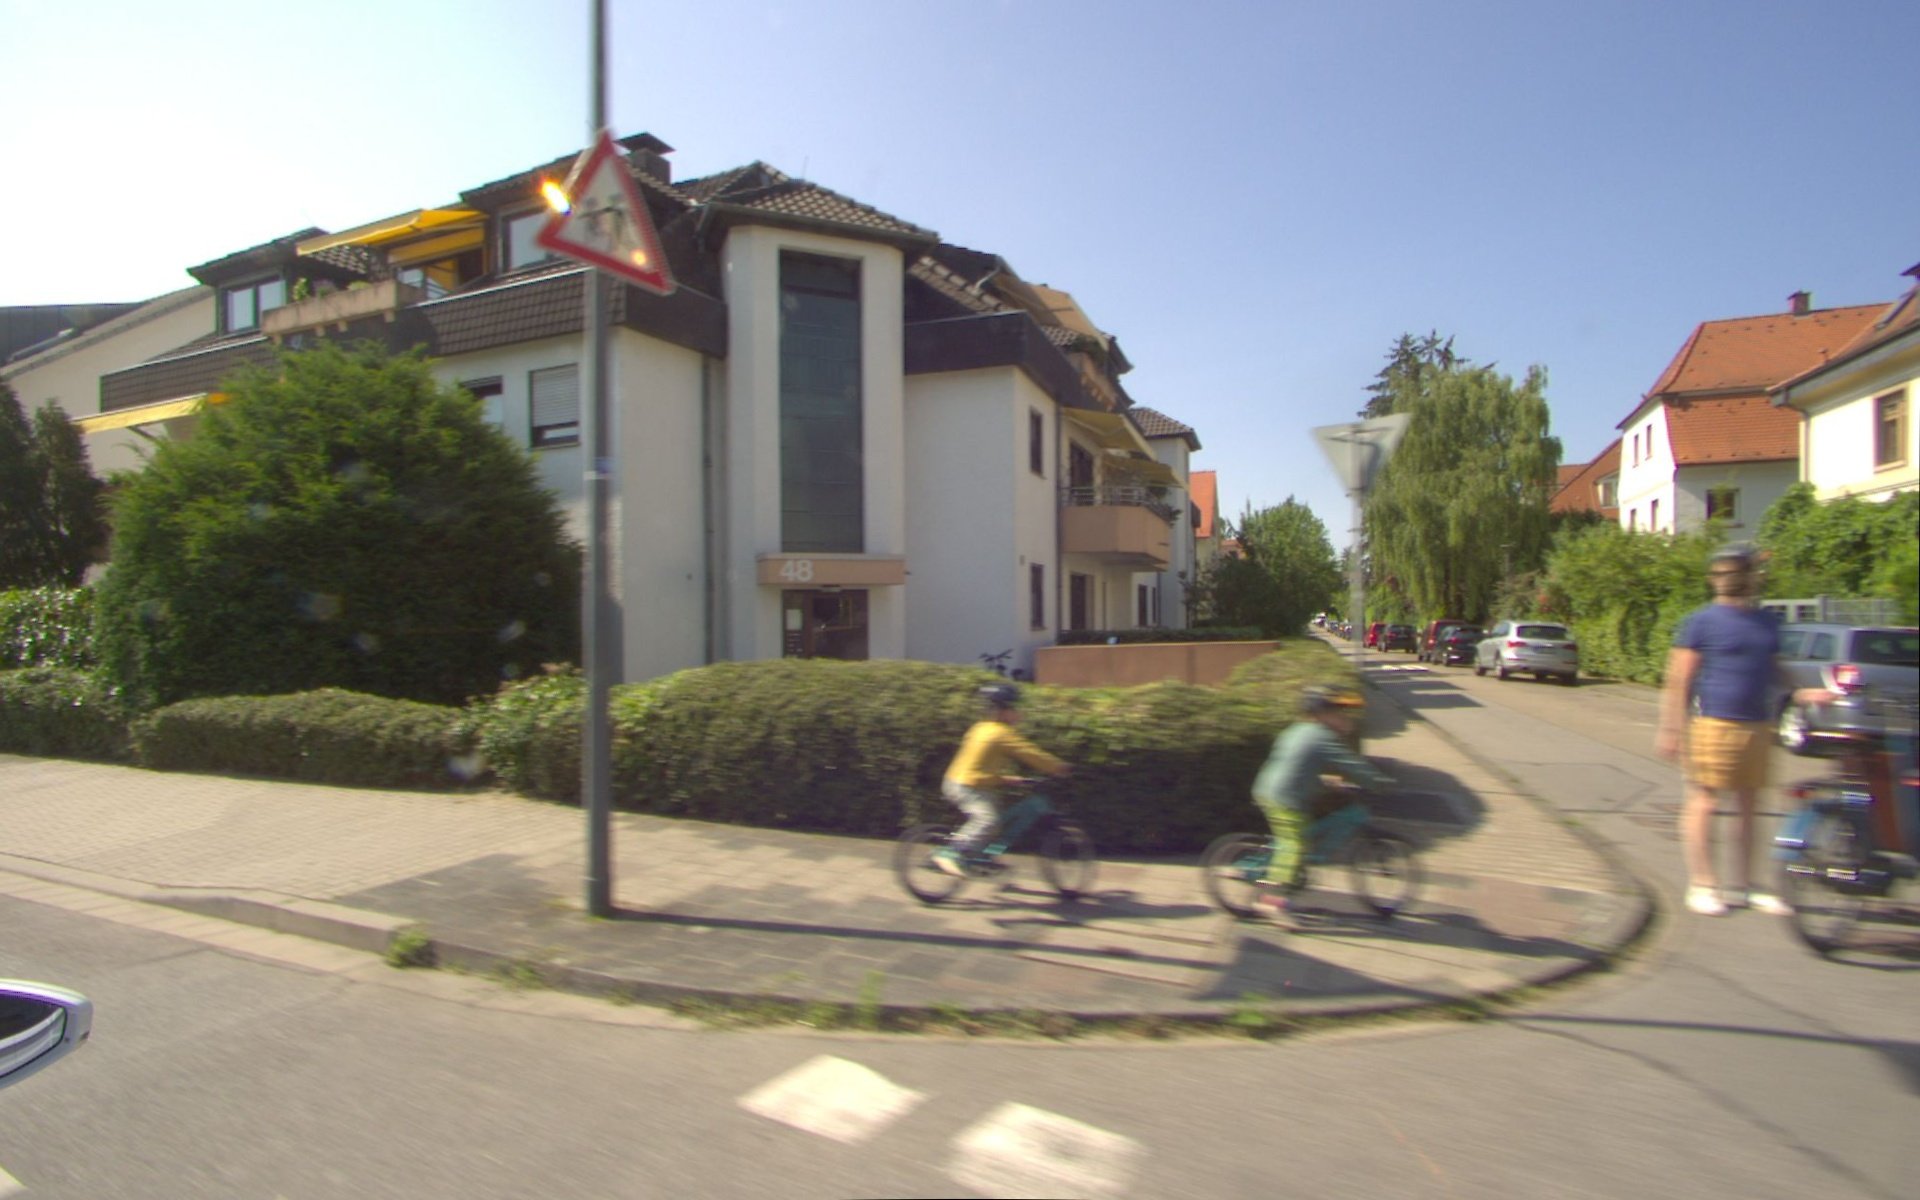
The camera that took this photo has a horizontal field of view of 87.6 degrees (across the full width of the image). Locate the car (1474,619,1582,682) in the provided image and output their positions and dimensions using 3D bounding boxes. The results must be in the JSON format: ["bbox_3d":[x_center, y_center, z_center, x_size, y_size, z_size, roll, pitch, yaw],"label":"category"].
[{"bbox_3d":[15.502,1.325,27.542,1.779,1.588,3.994,-1,-1,18],"label":"car"}]

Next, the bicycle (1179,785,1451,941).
[{"bbox_3d":[1.670,1.235,4.769,1.151,0.607,0.402,-1,0,-4],"label":"bicycle"}]

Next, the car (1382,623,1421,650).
[{"bbox_3d":[26.572,2.185,60.369,1.779,1.588,3.994,-1,-1,18],"label":"car"}]

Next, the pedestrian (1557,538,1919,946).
[{"bbox_3d":[3.961,0.667,5.189,1.166,1.897,0.901,-1,0,-6],"label":"pedestrian"}]

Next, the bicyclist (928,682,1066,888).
[{"bbox_3d":[0.190,0.896,5.003,0.598,0.945,0.399,-1,0,17],"label":"bicyclist"}]

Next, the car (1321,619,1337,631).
[{"bbox_3d":[47.990,3.241,130.343,1.779,1.588,3.994,-1,-1,18],"label":"car"}]

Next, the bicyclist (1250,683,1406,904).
[{"bbox_3d":[1.718,0.876,4.700,0.646,0.941,0.401,-1,0,20],"label":"bicyclist"}]

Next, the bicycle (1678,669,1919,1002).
[{"bbox_3d":[4.676,0.989,4.943,2.673,1.173,0.859,0,-1,-31],"label":"bicycle"}]

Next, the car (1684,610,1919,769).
[{"bbox_3d":[10.393,0.931,11.851,1.779,1.588,3.994,-1,-1,18],"label":"car"}]

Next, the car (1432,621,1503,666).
[{"bbox_3d":[19.165,1.620,37.986,1.779,1.588,3.994,-1,-1,18],"label":"car"}]

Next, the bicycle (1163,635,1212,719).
[{"bbox_3d":[3.449,1.140,15.288,0.620,1.110,1.821,0,1,10],"label":"bicycle"}]

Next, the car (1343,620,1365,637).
[{"bbox_3d":[38.515,2.745,98.004,1.779,1.588,3.994,-1,-1,18],"label":"car"}]

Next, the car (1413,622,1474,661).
[{"bbox_3d":[20.669,1.741,42.953,1.779,1.588,3.994,-1,-1,18],"label":"car"}]

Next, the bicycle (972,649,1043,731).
[{"bbox_3d":[0.723,1.375,15.769,0.621,1.110,1.682,-1,1,-16],"label":"bicycle"}]

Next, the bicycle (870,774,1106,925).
[{"bbox_3d":[0.145,1.241,5.092,1.130,0.607,0.402,-1,0,17],"label":"bicycle"}]

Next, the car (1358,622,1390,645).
[{"bbox_3d":[29.774,2.368,72.053,1.779,1.588,3.994,-1,-1,18],"label":"car"}]
